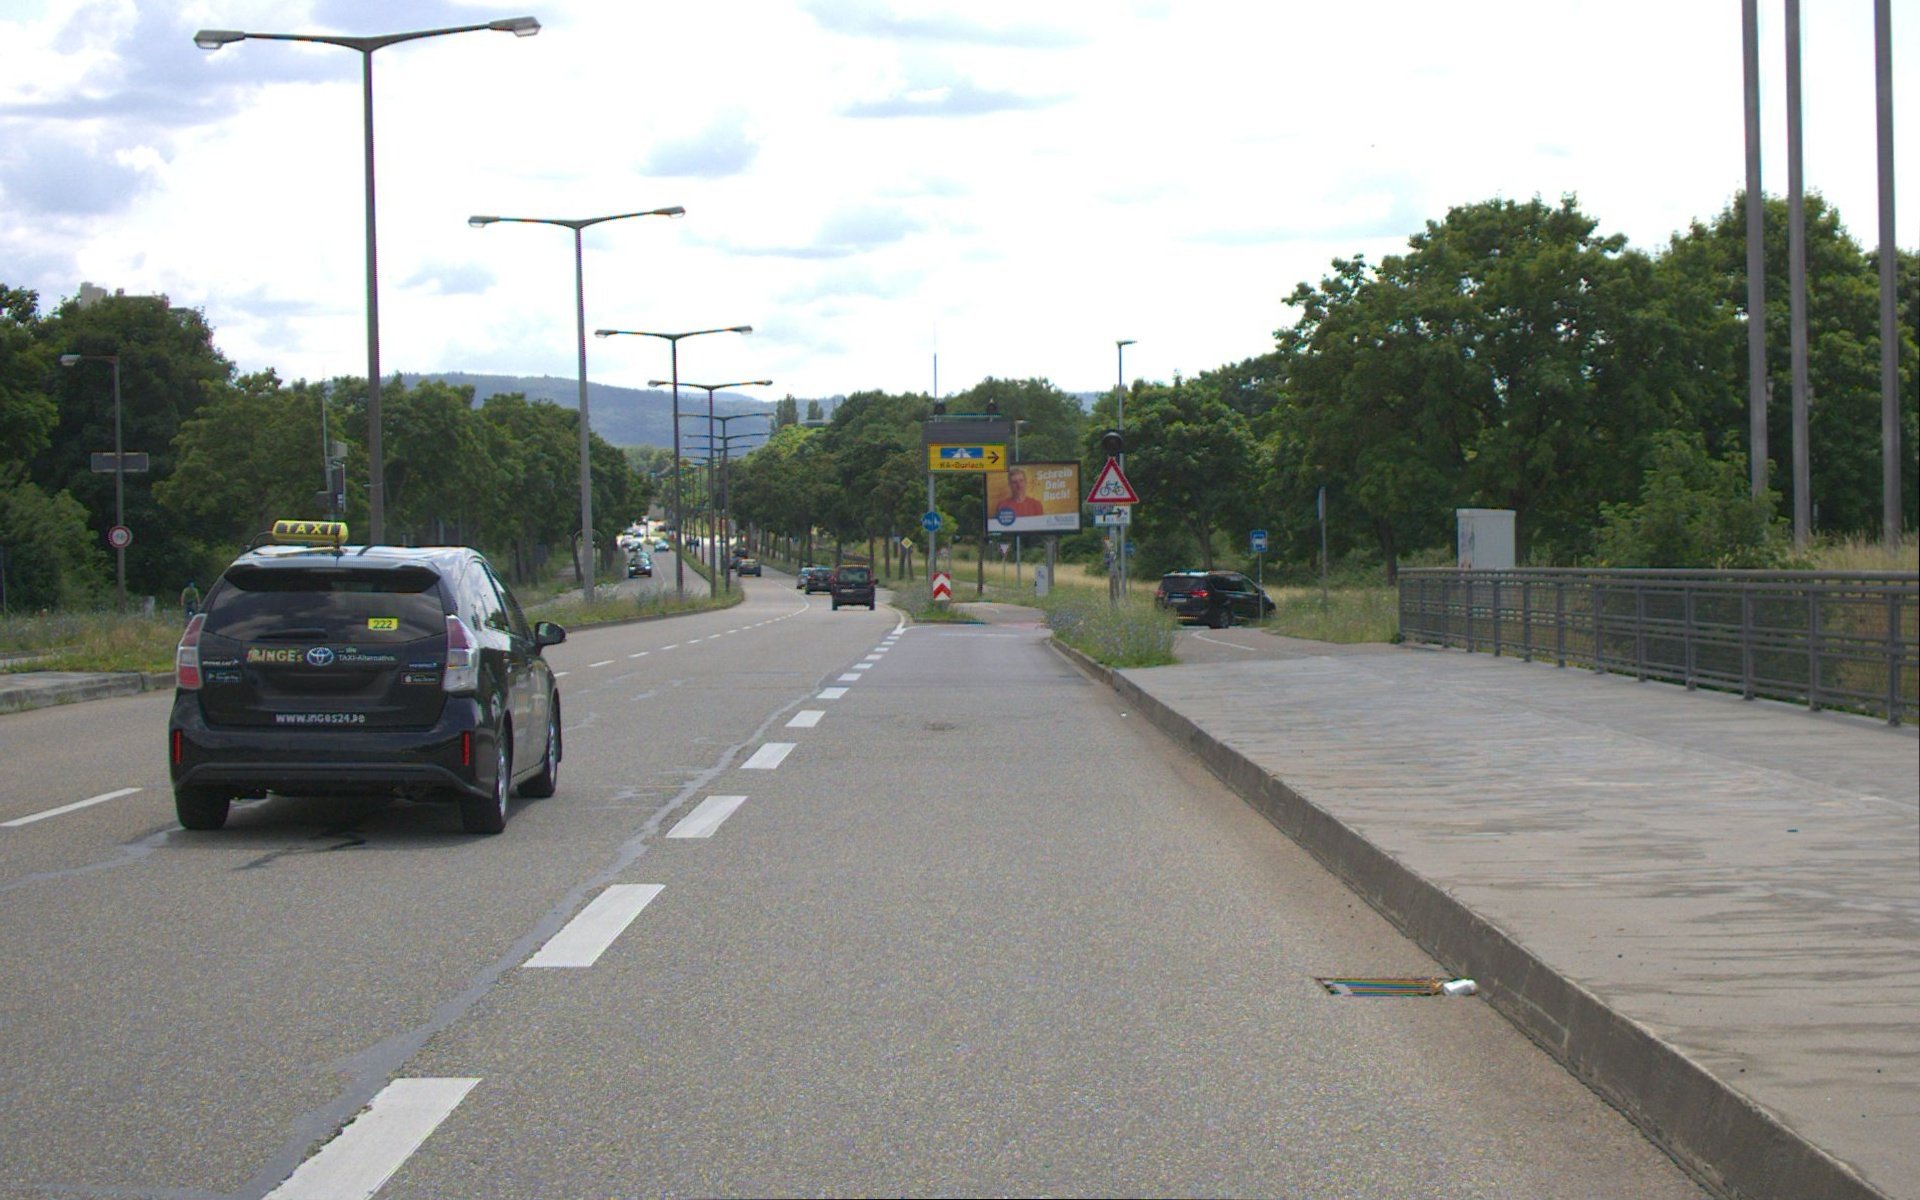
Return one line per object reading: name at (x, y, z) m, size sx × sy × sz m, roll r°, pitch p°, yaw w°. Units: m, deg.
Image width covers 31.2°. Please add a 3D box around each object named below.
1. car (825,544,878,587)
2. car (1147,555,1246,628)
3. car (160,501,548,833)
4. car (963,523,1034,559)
car at (-4.483, -1.434, 141.482) m, size 1.993 × 1.656 × 4.001 m, roll 1°, pitch 2°, yaw -4°
car at (5.829, -0.239, 84.360) m, size 1.994 × 1.656 × 3.999 m, roll 1°, pitch 2°, yaw 10°
car at (-3.354, 0.293, 19.675) m, size 1.779 × 1.678 × 4.001 m, roll 1°, pitch 2°, yaw -4°
car at (1.838, -2.873, 166.754) m, size 1.993 × 1.656 × 4.001 m, roll 0°, pitch 2°, yaw -23°
